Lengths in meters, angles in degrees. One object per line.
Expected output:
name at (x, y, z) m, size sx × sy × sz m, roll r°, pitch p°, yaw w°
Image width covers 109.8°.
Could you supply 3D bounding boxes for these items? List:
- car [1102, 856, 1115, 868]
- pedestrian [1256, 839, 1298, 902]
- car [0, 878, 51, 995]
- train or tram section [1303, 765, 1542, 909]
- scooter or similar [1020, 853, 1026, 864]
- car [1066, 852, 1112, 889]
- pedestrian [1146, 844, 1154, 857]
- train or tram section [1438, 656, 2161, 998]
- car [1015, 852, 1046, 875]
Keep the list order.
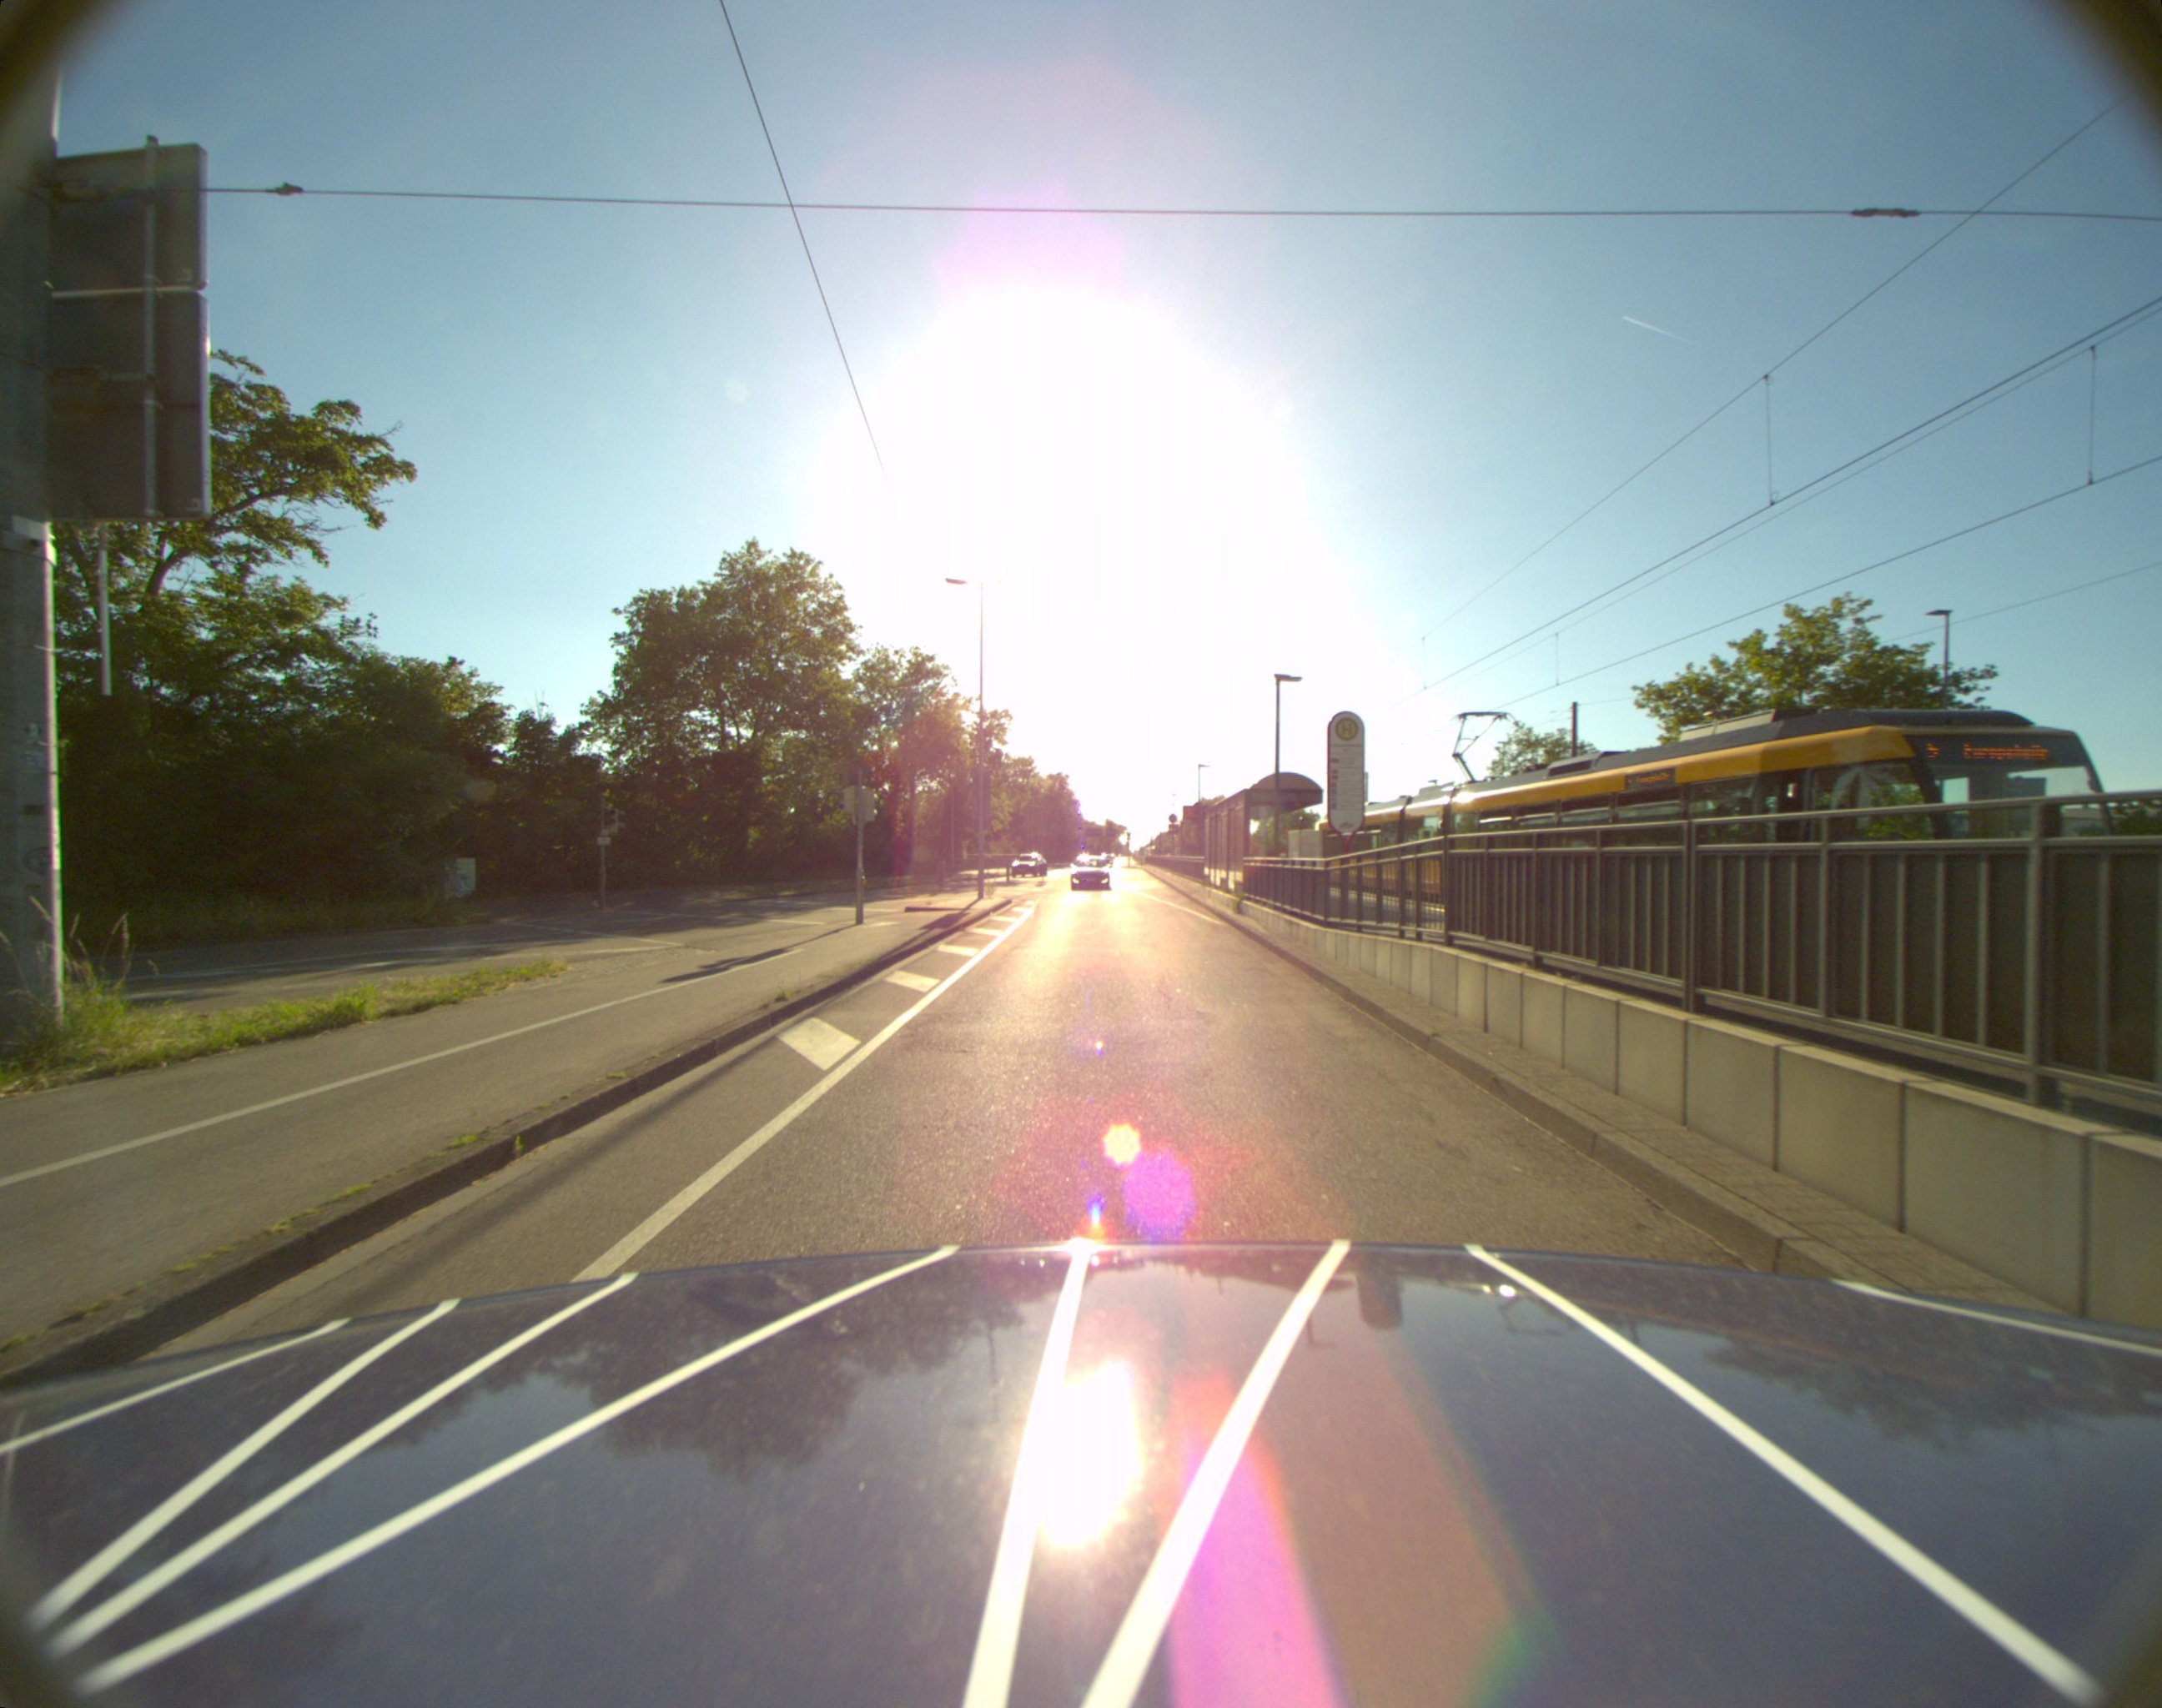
car at (3.773, 1.077, 104.557) m, size 1.783 × 1.586 × 4.000 m, roll 0°, pitch 0°, yaw 2°
pedestrian at (4.741, 0.393, 18.376) m, size 0.760 × 1.484 × 0.696 m, roll 0°, pitch 1°, yaw 36°
car at (-15.005, 1.069, 8.513) m, size 1.669 × 1.465 × 3.749 m, roll 1°, pitch 1°, yaw 17°
train or tram section at (11.846, -0.521, 29.147) m, size 2.834 × 3.982 × 15.877 m, roll -1°, pitch 0°, yaw 3°
scooter or similar at (-6.363, 0.503, 83.172) m, size 0.427 × 1.267 × 1.083 m, roll 1°, pitch 0°, yaw 3°
car at (0.437, 0.732, 35.569) m, size 1.786 × 1.530 × 4.001 m, roll 2°, pitch 1°, yaw 5°
pedestrian at (8.371, -0.420, 92.004) m, size 0.891 × 1.635 × 0.986 m, roll 0°, pitch 1°, yaw -1°
train or tram section at (11.048, -0.315, 14.701) m, size 2.834 × 3.665 × 12.970 m, roll -1°, pitch 0°, yaw 3°
car at (-3.672, 0.692, 55.569) m, size 1.824 × 1.608 × 4.000 m, roll 0°, pitch 1°, yaw 2°
